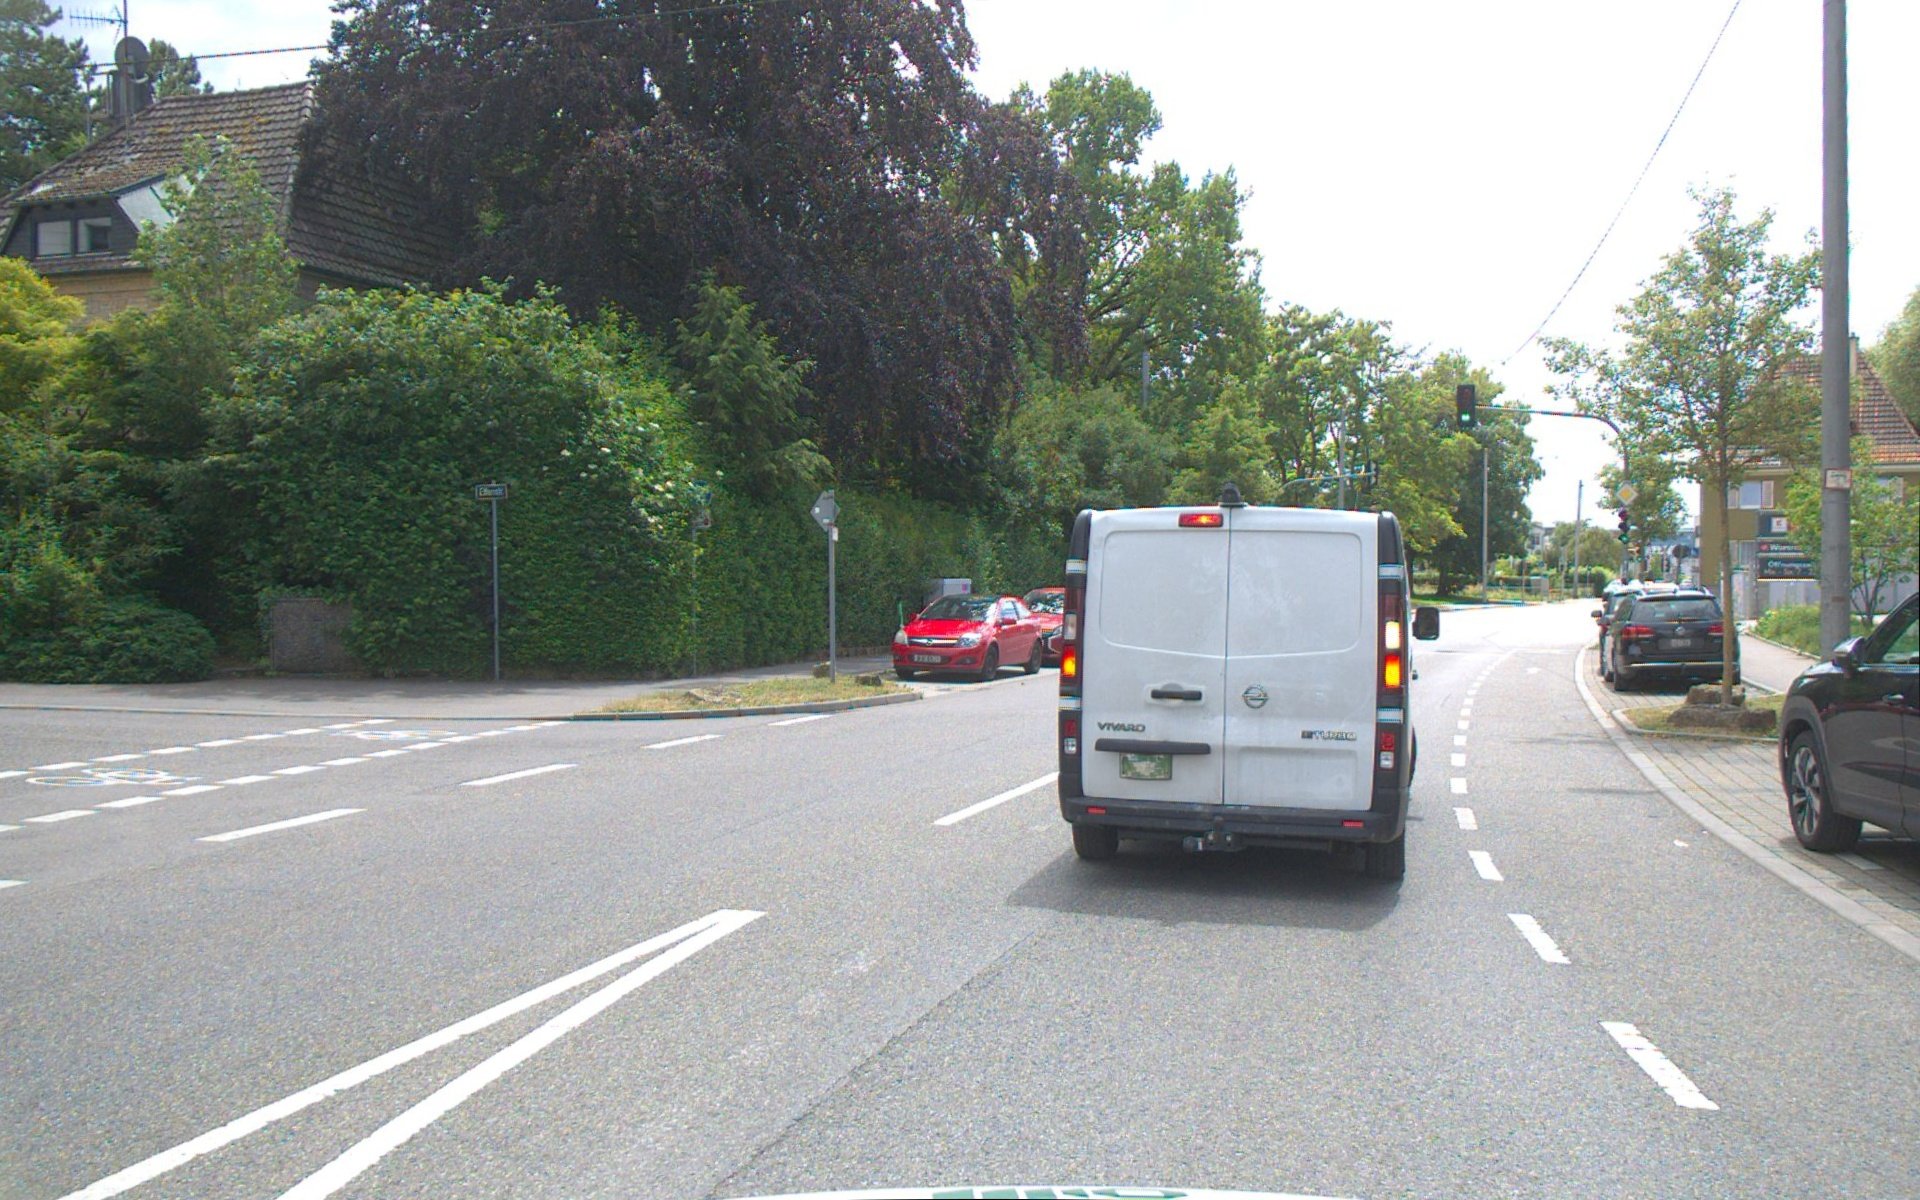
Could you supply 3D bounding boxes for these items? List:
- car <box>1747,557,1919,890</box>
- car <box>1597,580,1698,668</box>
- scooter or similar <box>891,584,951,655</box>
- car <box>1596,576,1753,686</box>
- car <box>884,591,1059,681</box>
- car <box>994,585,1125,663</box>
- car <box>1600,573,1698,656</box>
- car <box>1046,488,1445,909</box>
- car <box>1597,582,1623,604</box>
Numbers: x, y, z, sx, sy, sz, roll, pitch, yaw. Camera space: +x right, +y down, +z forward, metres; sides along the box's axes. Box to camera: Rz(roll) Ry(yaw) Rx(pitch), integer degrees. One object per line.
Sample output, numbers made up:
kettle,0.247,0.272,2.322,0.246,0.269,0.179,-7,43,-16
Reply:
car,5.712,0.588,8.396,1.838,1.650,4.851,-1,0,10
car,12.736,0.415,30.804,1.536,1.519,4.001,-1,0,20
scooter or similar,-0.814,0.388,34.735,0.656,1.436,1.649,1,1,21
car,11.129,0.438,26.037,1.727,1.503,4.938,-3,-1,18
car,0.298,0.571,29.056,1.626,1.402,4.567,1,1,20
car,2.118,0.448,34.040,1.615,1.476,4.106,1,1,19
car,14.917,0.297,35.993,1.701,1.644,4.387,-3,-1,20
car,1.997,0.426,10.540,1.898,1.994,4.837,2,1,15
car,50.367,-0.557,128.200,1.795,1.645,4.153,-1,1,21
